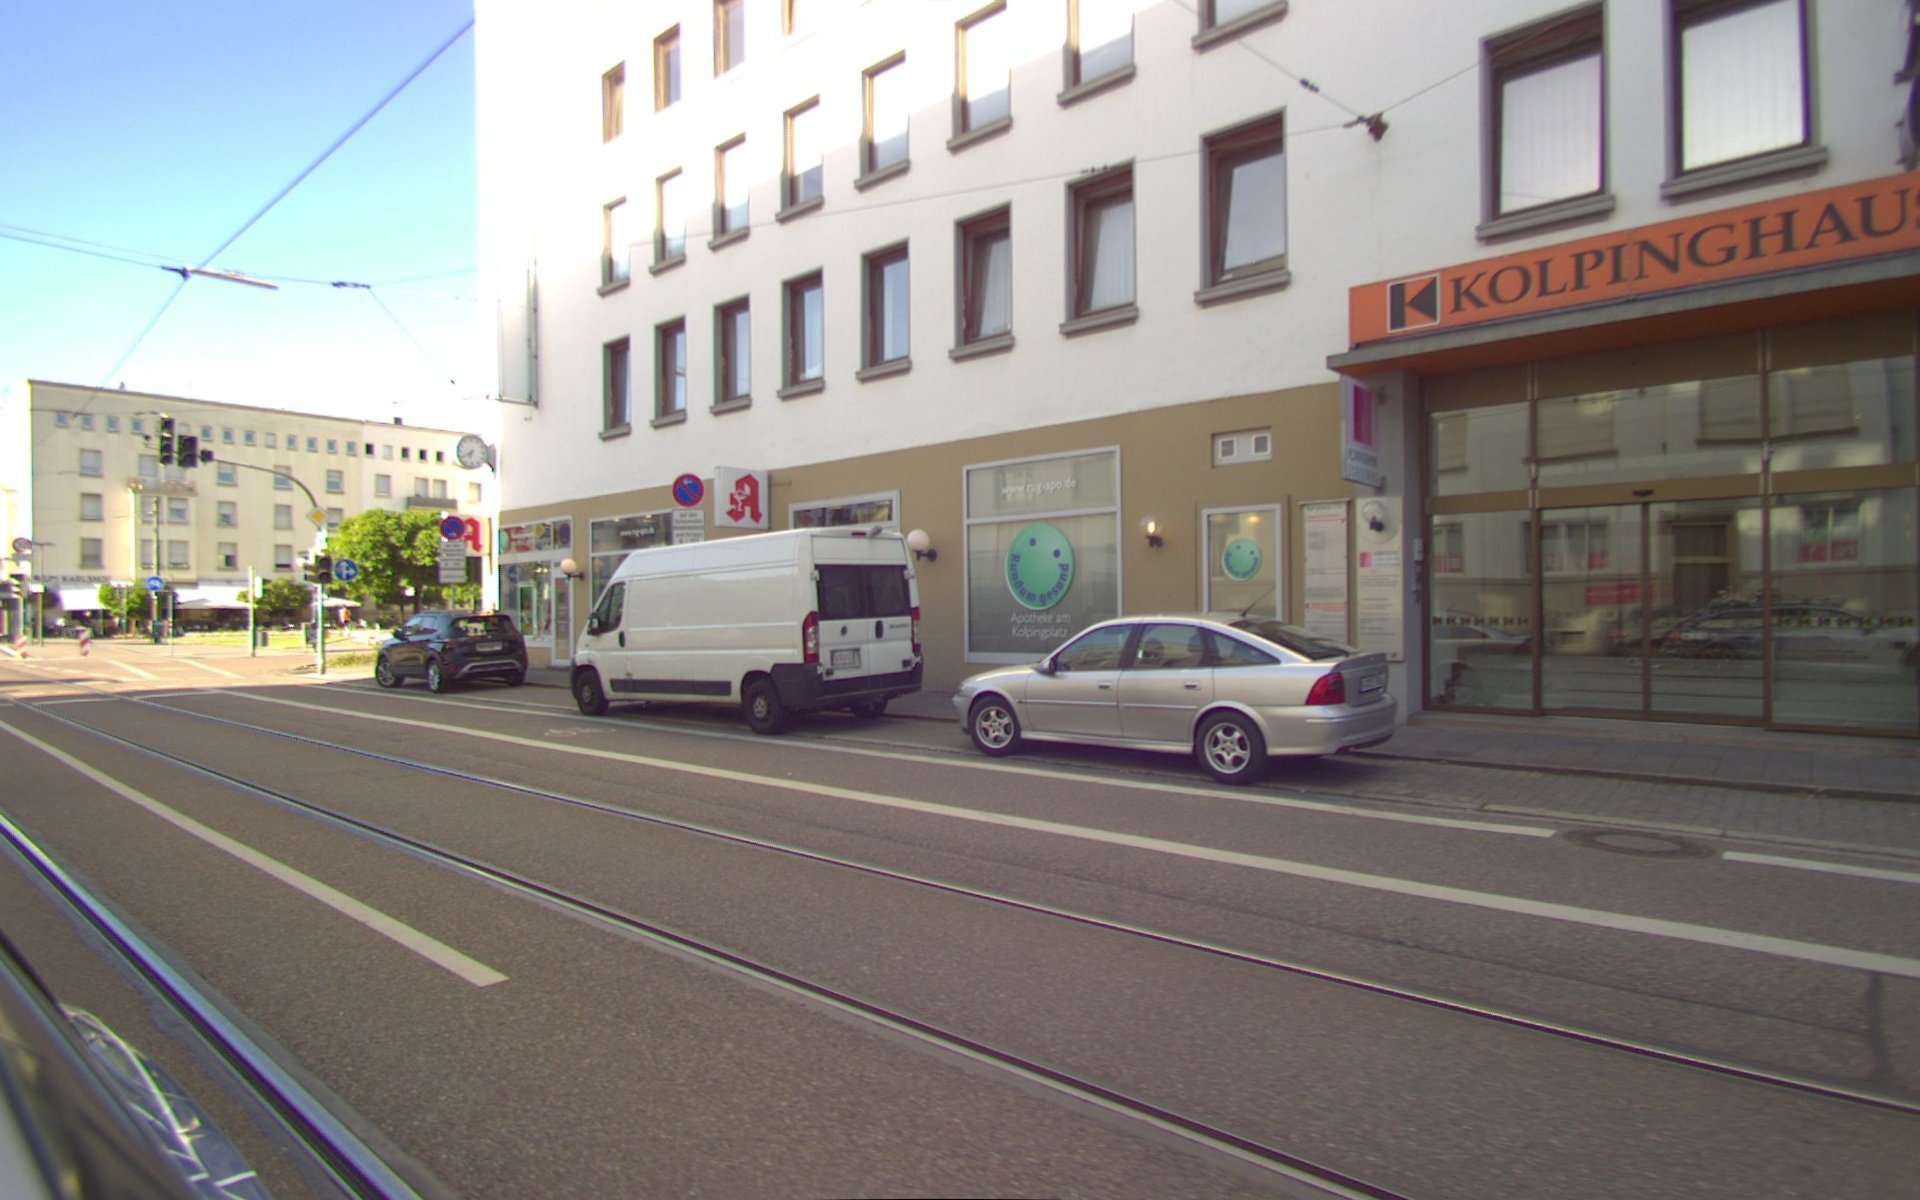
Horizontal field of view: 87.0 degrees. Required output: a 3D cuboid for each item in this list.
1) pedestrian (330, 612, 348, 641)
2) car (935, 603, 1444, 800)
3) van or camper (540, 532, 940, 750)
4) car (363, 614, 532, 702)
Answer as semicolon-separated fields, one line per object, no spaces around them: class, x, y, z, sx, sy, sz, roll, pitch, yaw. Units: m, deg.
pedestrian;-37.037;1.590;60.382;0.838;1.708;0.659;-1;-1;37
car;1.989;0.797;9.699;4.444;1.409;1.764;-1;1;42
van or camper;-3.351;0.494;14.338;6.228;2.485;2.150;-1;1;40
car;-10.610;1.130;20.839;3.992;1.564;1.764;-1;1;42
